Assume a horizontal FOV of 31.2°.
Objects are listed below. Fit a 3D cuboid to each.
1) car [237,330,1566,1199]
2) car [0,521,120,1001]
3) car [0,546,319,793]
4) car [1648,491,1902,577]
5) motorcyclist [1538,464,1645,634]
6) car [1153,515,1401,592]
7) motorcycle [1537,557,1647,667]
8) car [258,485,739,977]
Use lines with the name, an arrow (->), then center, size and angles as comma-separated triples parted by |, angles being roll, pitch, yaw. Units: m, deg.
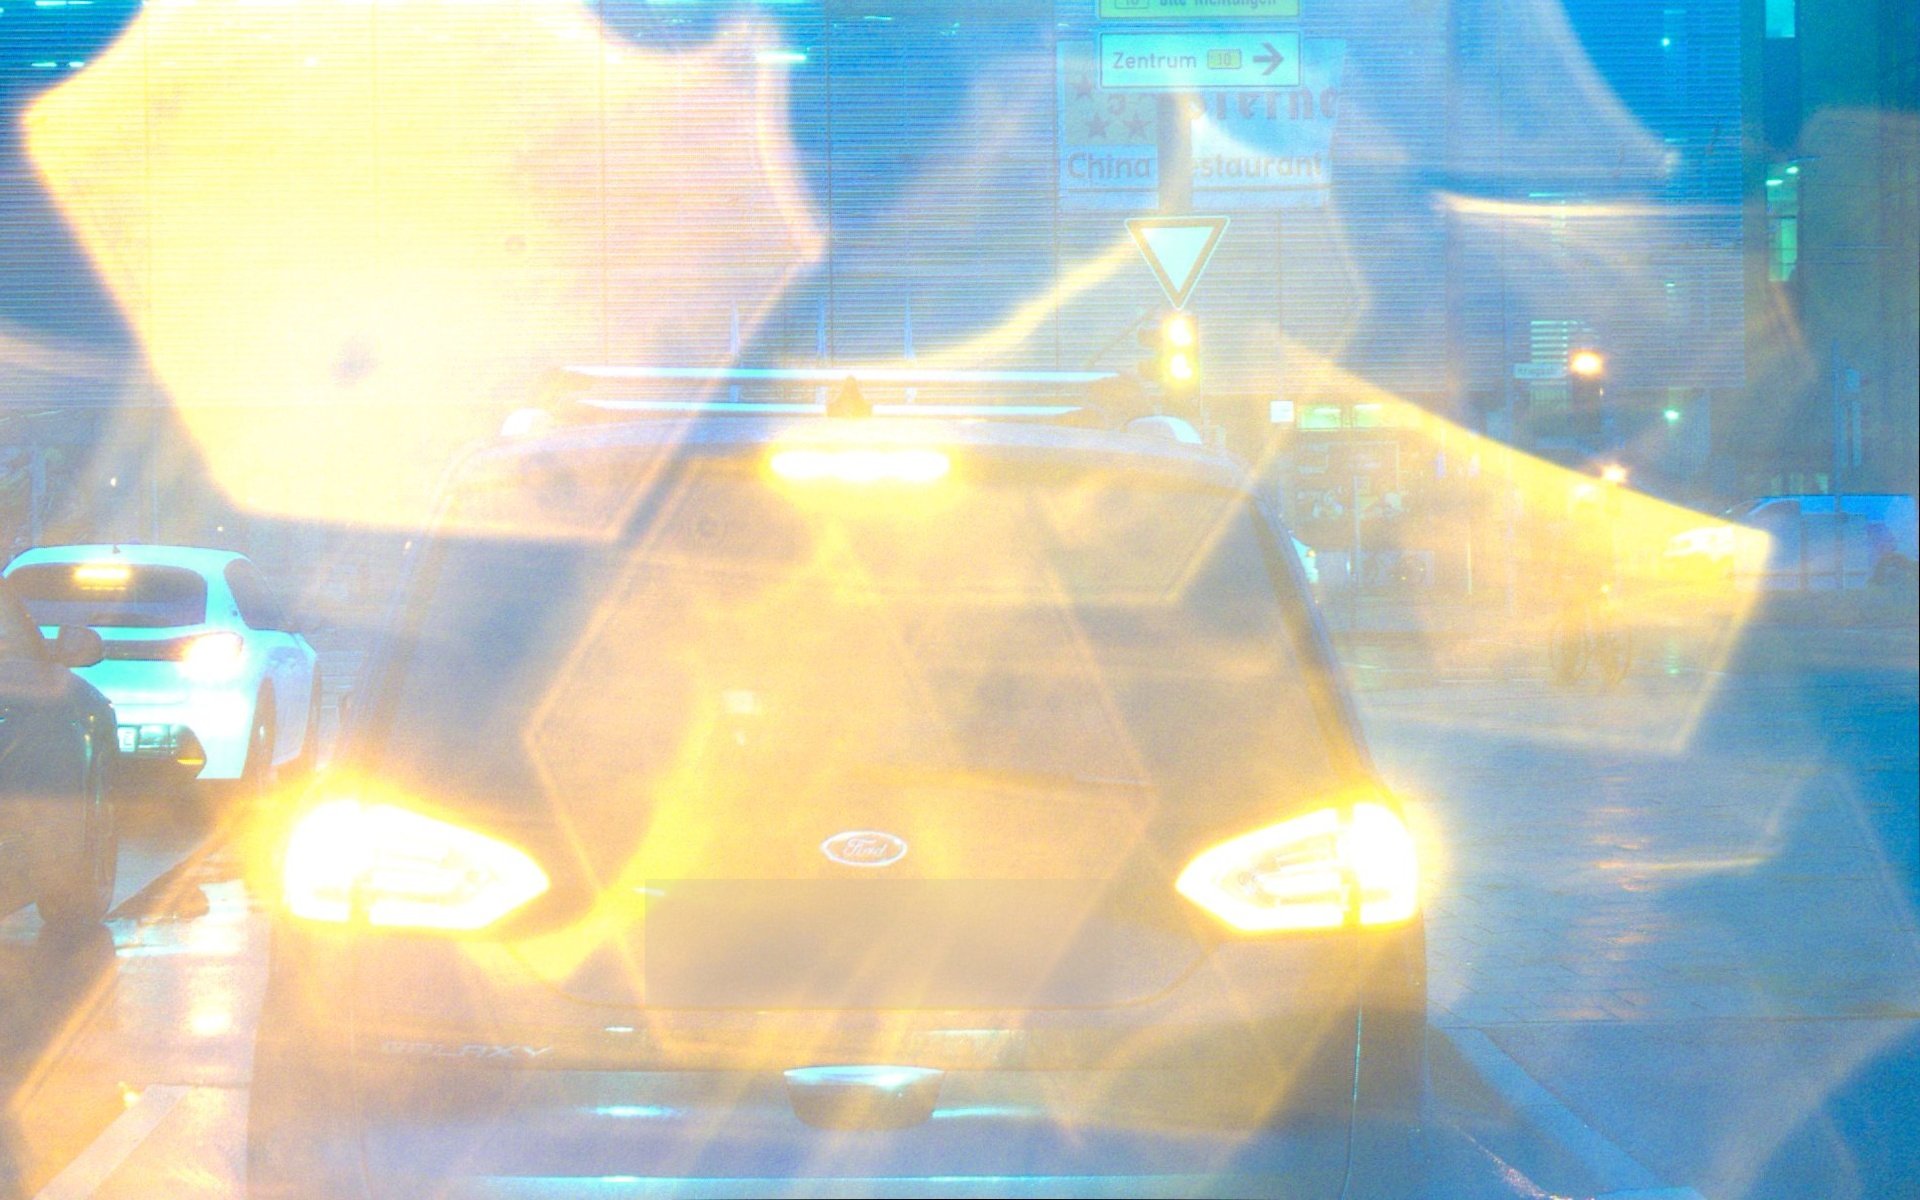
car -> -0.186, 0.487, 6.702 | 1.735, 1.732, 4.247 | 2, 1, -3
car -> -4.045, 0.528, 11.522 | 1.752, 1.568, 4.001 | -1, 1, -4
car -> -4.515, 0.320, 19.522 | 1.540, 1.247, 4.069 | 0, 1, -8
car -> 15.747, -1.276, 66.489 | 4.418, 1.589, 1.800 | -1, 1, -7
motorcyclist -> 5.807, -0.472, 31.666 | 0.868, 1.529, 1.108 | 0, 1, 5
car -> 6.024, -0.895, 65.644 | 4.418, 1.385, 1.800 | -1, 1, -7
motorcycle -> 5.807, 0.101, 31.661 | 0.853, 0.968, 1.581 | 0, 1, 5
car -> -1.750, 0.429, 13.714 | 1.636, 1.691, 3.671 | 1, 1, -5
